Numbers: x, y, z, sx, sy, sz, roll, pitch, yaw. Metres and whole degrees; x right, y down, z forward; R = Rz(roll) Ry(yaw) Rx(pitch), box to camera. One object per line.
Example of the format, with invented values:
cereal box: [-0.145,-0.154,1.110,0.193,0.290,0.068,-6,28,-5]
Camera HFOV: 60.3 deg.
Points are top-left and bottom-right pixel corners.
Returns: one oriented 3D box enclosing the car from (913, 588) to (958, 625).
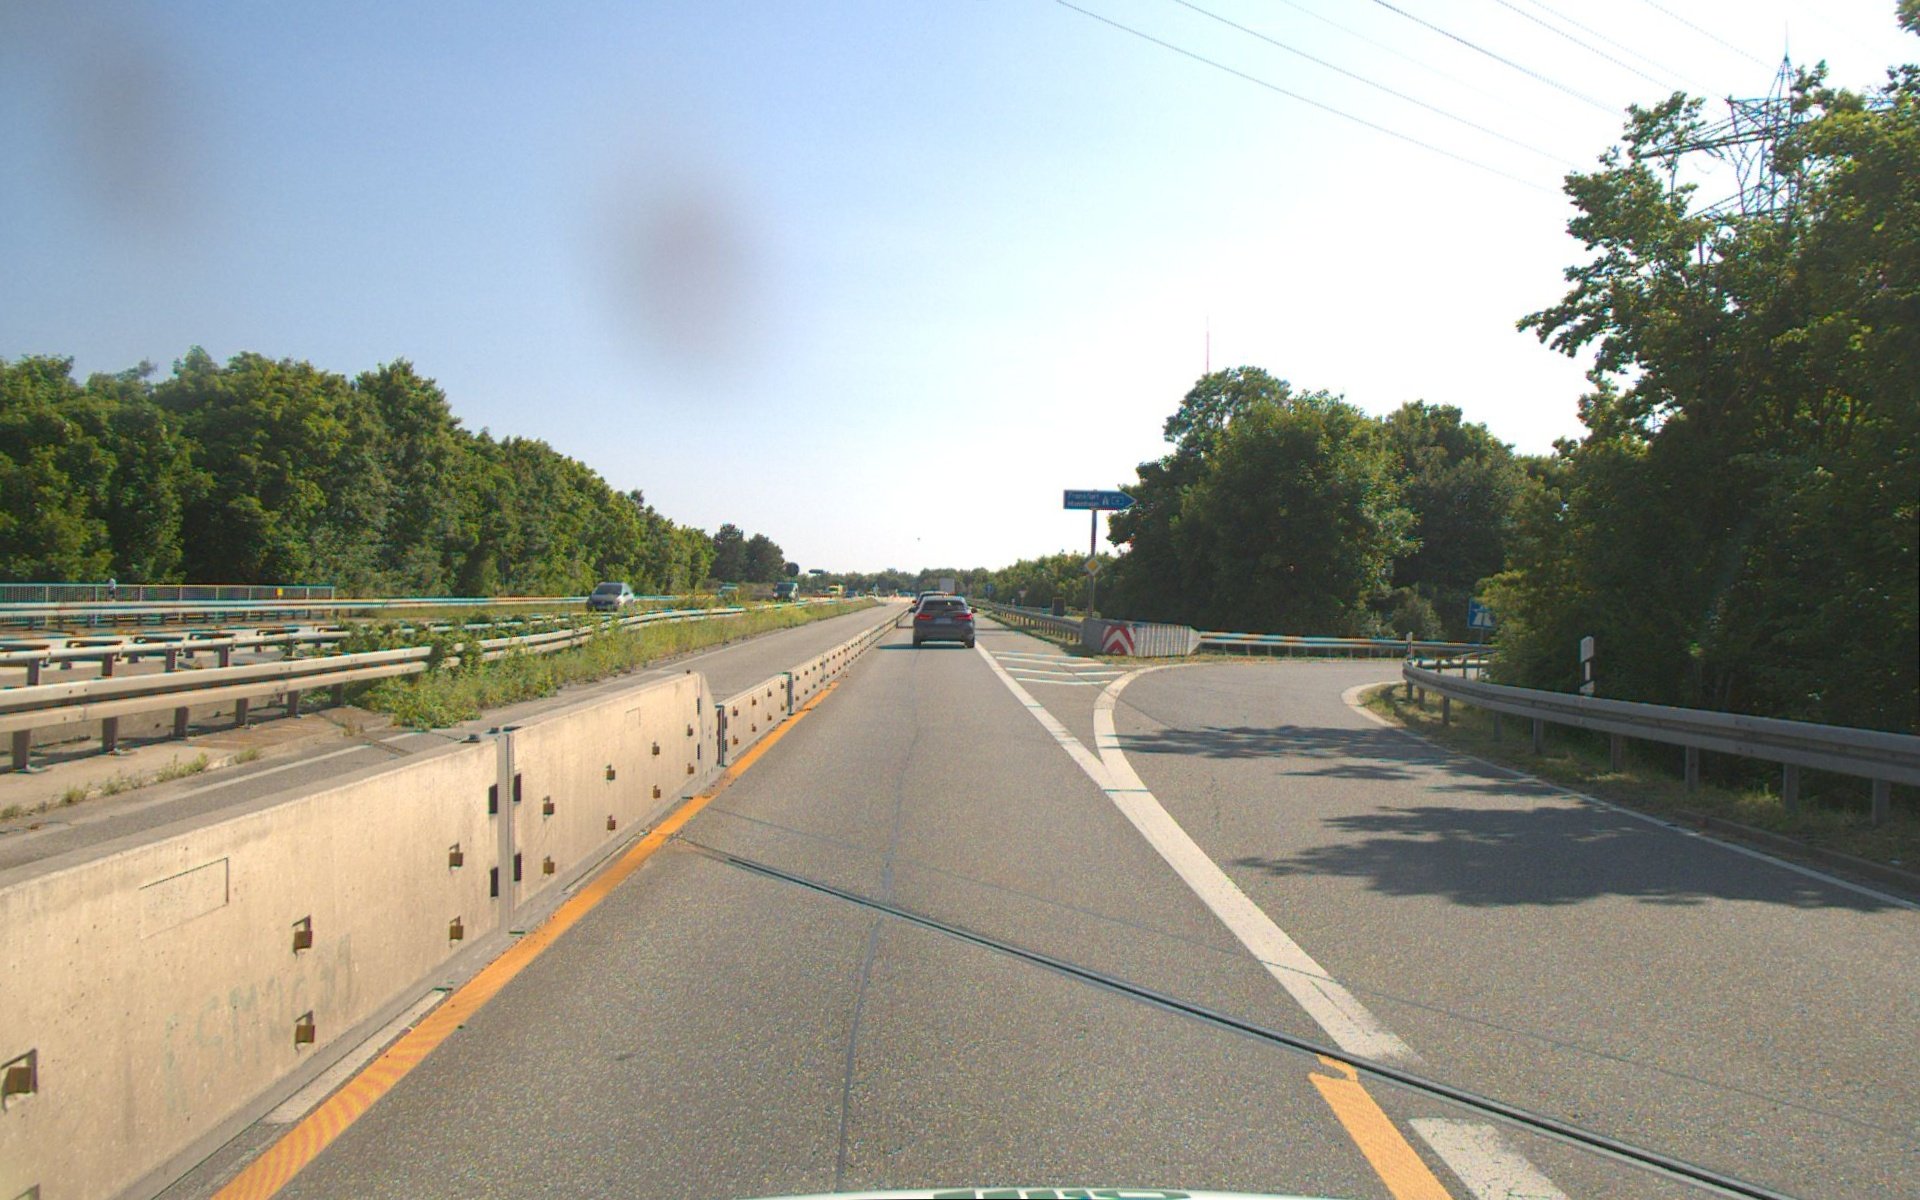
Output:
car: [-1.108,0.266,74.900,1.953,1.594,4.000,0,0,-1]

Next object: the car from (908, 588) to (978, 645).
car: [-0.540,0.450,47.876,1.882,1.520,3.998,2,0,-2]

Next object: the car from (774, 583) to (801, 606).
car: [-15.416,-0.503,147.720,1.953,2.070,5.167,0,0,-1]

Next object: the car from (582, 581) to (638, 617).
car: [-16.162,-0.066,76.560,1.727,1.610,4.422,0,1,-1]
